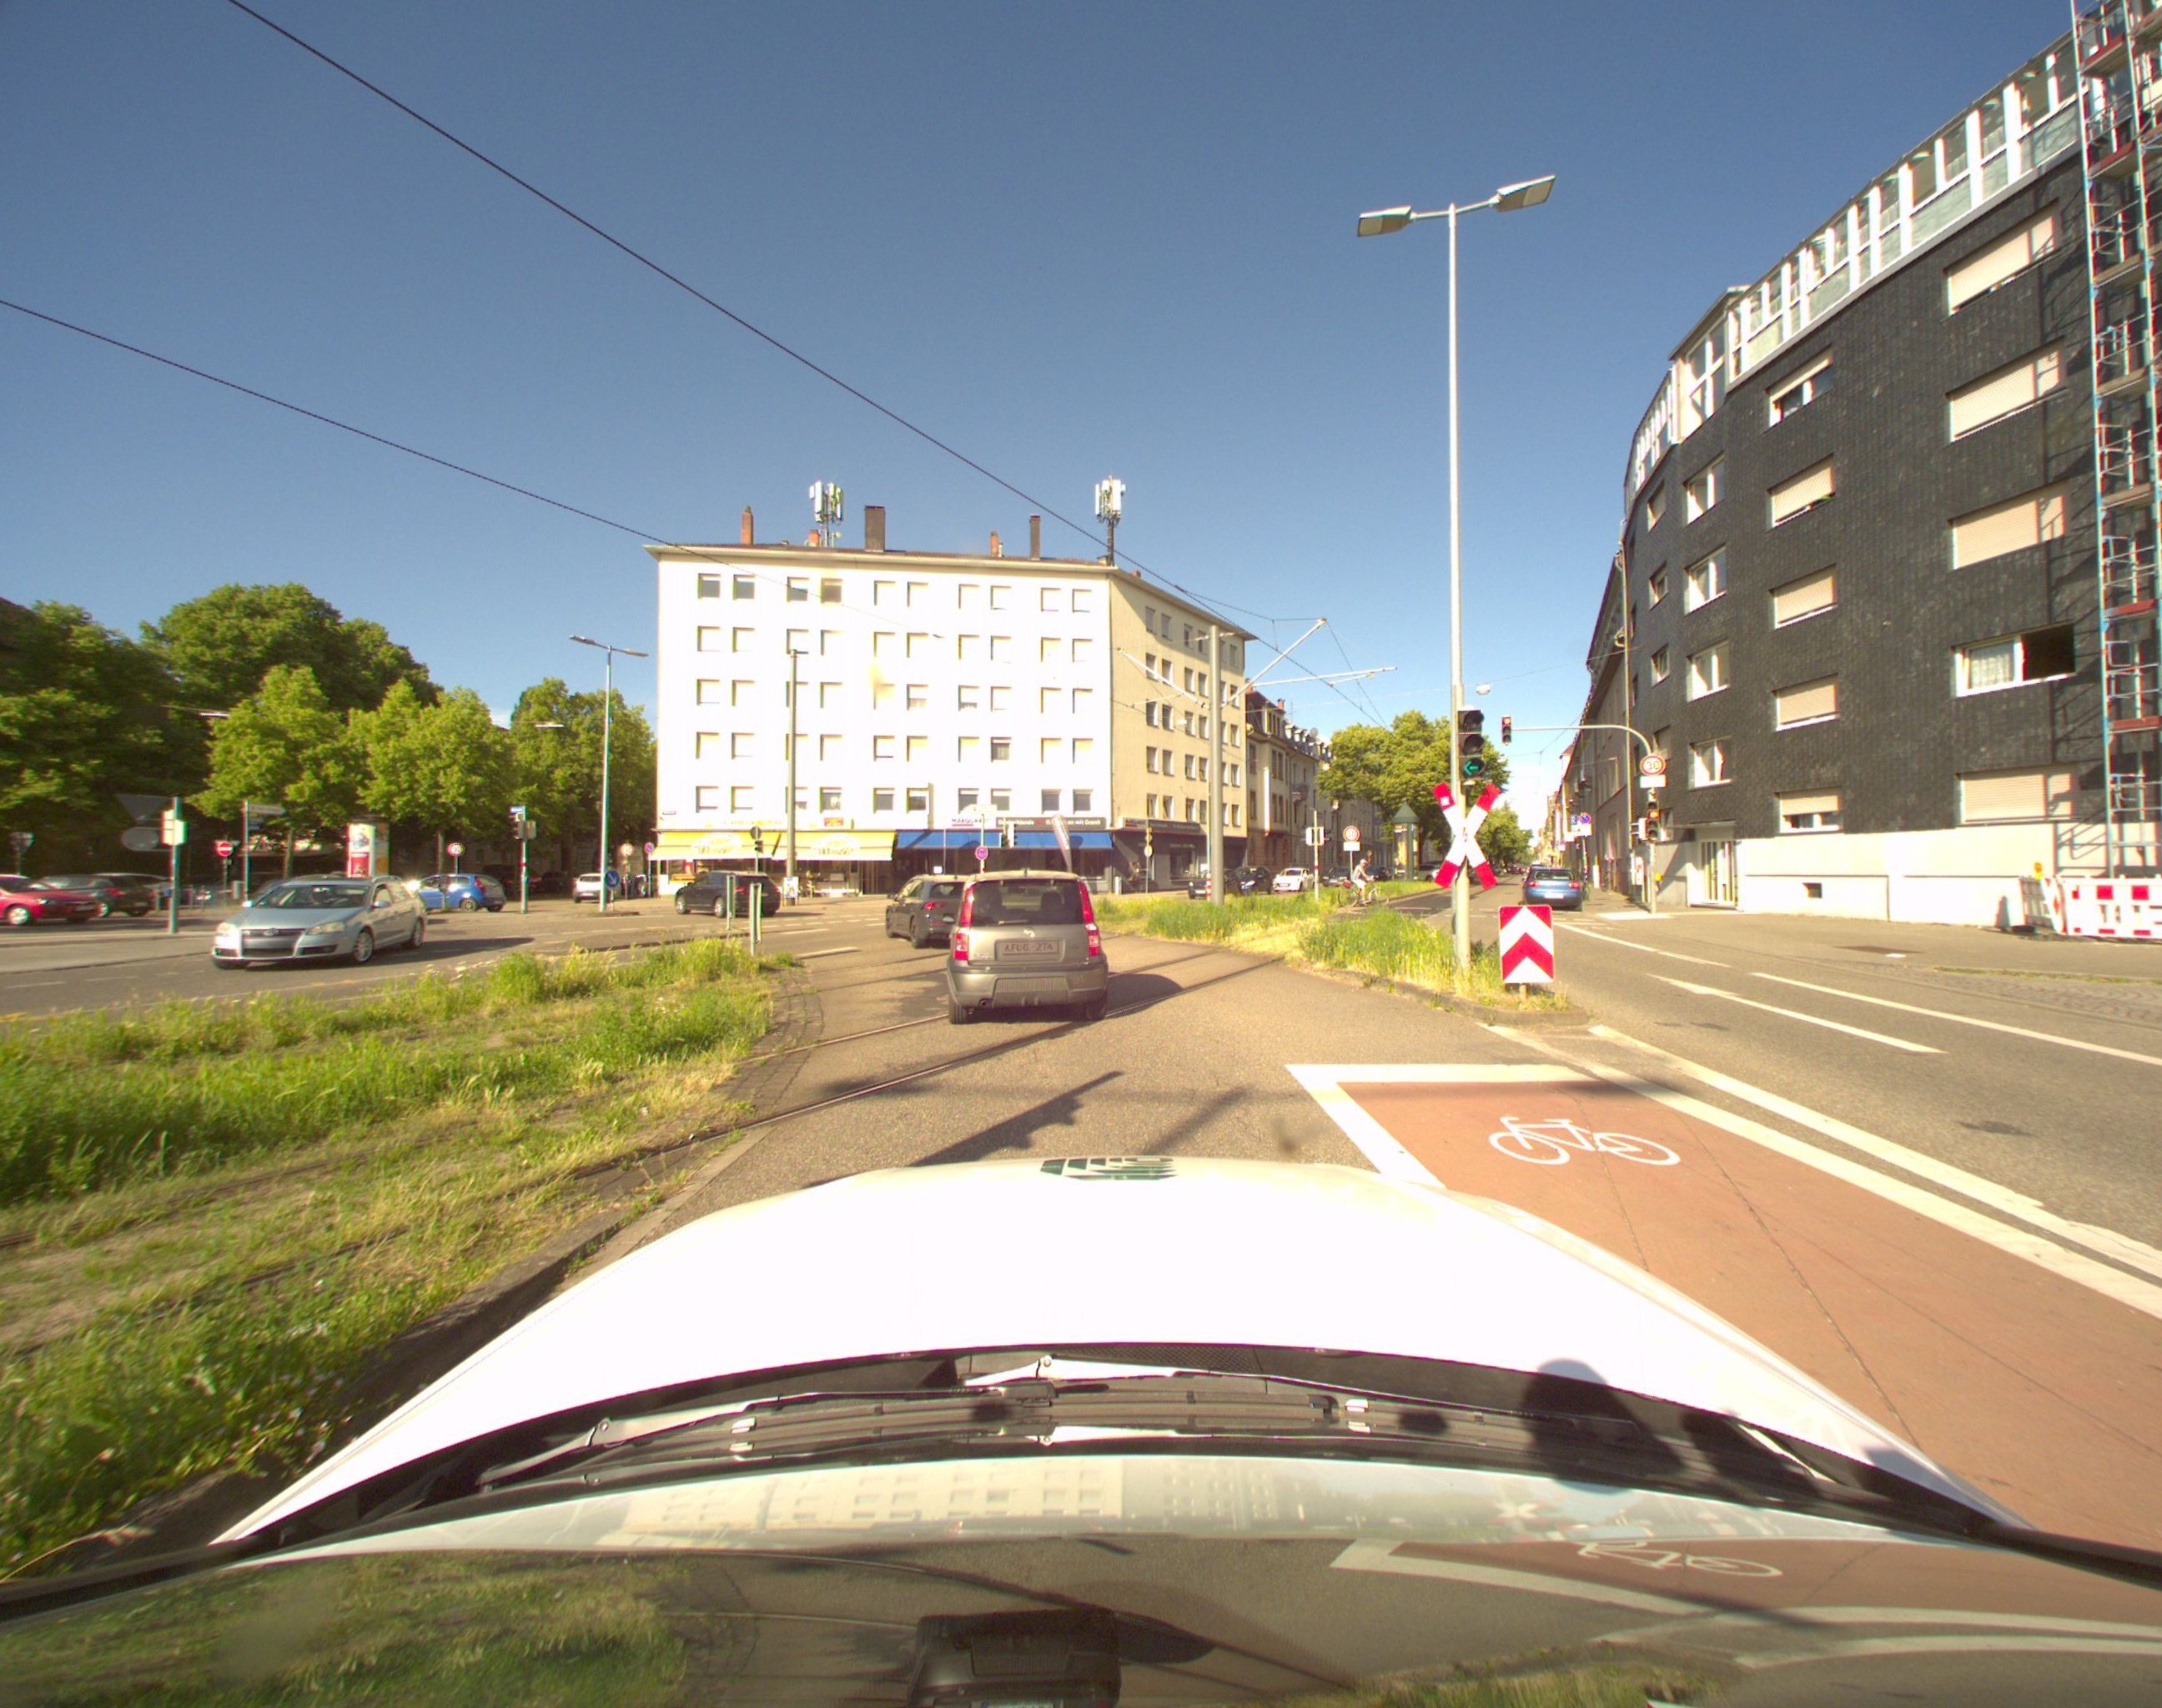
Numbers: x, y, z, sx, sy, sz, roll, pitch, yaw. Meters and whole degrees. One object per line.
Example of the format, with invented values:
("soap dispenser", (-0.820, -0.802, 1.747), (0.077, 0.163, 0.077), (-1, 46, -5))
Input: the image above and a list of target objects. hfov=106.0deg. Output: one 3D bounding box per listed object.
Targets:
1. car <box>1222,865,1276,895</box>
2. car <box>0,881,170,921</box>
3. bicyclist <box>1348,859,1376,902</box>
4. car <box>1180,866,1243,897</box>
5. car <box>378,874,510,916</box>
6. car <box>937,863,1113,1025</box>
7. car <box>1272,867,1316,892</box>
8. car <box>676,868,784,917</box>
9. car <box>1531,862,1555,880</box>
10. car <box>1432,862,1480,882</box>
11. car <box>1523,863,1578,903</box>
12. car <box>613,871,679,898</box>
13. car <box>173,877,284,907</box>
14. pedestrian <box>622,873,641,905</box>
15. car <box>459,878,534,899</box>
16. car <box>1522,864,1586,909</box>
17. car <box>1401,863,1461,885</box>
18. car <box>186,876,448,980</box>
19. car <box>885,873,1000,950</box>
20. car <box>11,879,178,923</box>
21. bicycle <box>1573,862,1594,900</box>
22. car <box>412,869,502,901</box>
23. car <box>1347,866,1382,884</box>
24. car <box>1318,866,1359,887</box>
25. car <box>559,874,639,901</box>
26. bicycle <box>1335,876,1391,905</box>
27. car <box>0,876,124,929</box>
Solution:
("car", (9.249, 1.388, 44.552), (1.773, 1.566, 3.789), (-1, -1, 30))
("car", (-34.168, 1.585, 27.912), (3.614, 1.253, 1.690), (0, -1, -10))
("bicyclist", (10.216, 0.956, 29.641), (0.817, 1.559, 0.563), (0, -1, 4))
("car", (6.369, 1.302, 39.404), (1.773, 1.396, 3.748), (-1, -1, 30))
("car", (-23.255, 1.472, 29.872), (3.389, 1.438, 1.644), (0, -1, -13))
("car", (-0.609, 0.871, 9.319), (1.656, 1.510, 3.247), (0, -1, -3))
("car", (13.282, 1.571, 50.689), (1.773, 1.483, 3.553), (-1, -1, 30))
("car", (-11.670, 1.219, 26.960), (4.239, 1.486, 1.776), (-1, -2, 44))
("car", (44.179, 1.609, 77.881), (1.974, 1.618, 4.024), (0, -2, 30))
("car", (35.570, 1.700, 77.300), (3.771, 1.786, 1.852), (-1, -2, 42))
("car", (18.864, 1.126, 32.851), (1.802, 1.508, 4.024), (-1, -1, 29))
("car", (-25.855, 1.813, 48.552), (1.932, 1.513, 3.934), (0, -1, -3))
("car", (-40.614, 1.769, 38.912), (1.591, 1.293, 3.696), (-1, -1, -5))
("pedestrian", (-23.305, 1.802, 42.237), (0.794, 1.621, 0.824), (0, -1, -22))
("car", (-36.442, 2.112, 50.869), (1.646, 1.190, 3.465), (-1, -1, 37))
("car", (16.477, 1.081, 28.491), (1.758, 1.443, 3.640), (0, -1, 28))
("car", (25.762, 1.451, 60.067), (1.909, 1.594, 3.976), (0, -1, -18))
("car", (-13.341, 1.179, 14.674), (1.735, 1.442, 4.847), (2, -1, -22))
("car", (-3.063, 1.138, 17.450), (1.628, 1.429, 3.659), (0, -1, -23))
("car", (-40.253, 1.869, 33.412), (1.755, 1.617, 4.223), (0, -1, -2))
("bicycle", (20.806, 1.102, 33.774), (0.567, 1.511, 2.824), (-1, -1, 29))
("car", (-32.329, 1.581, 42.288), (3.298, 1.602, 1.664), (-1, -1, -12))
("car", (24.146, 1.776, 69.369), (1.974, 1.487, 4.025), (-1, -1, 31))
("car", (19.033, 1.638, 60.135), (1.974, 1.473, 4.025), (-1, -1, 31))
("car", (-25.014, 1.720, 42.445), (1.990, 1.310, 3.993), (0, -1, -5))
("bicycle", (10.243, 1.333, 29.630), (1.843, 1.032, 0.590), (0, -1, 4))
("car", (-32.060, 1.430, 24.166), (4.535, 1.489, 1.747), (0, -1, -14))
